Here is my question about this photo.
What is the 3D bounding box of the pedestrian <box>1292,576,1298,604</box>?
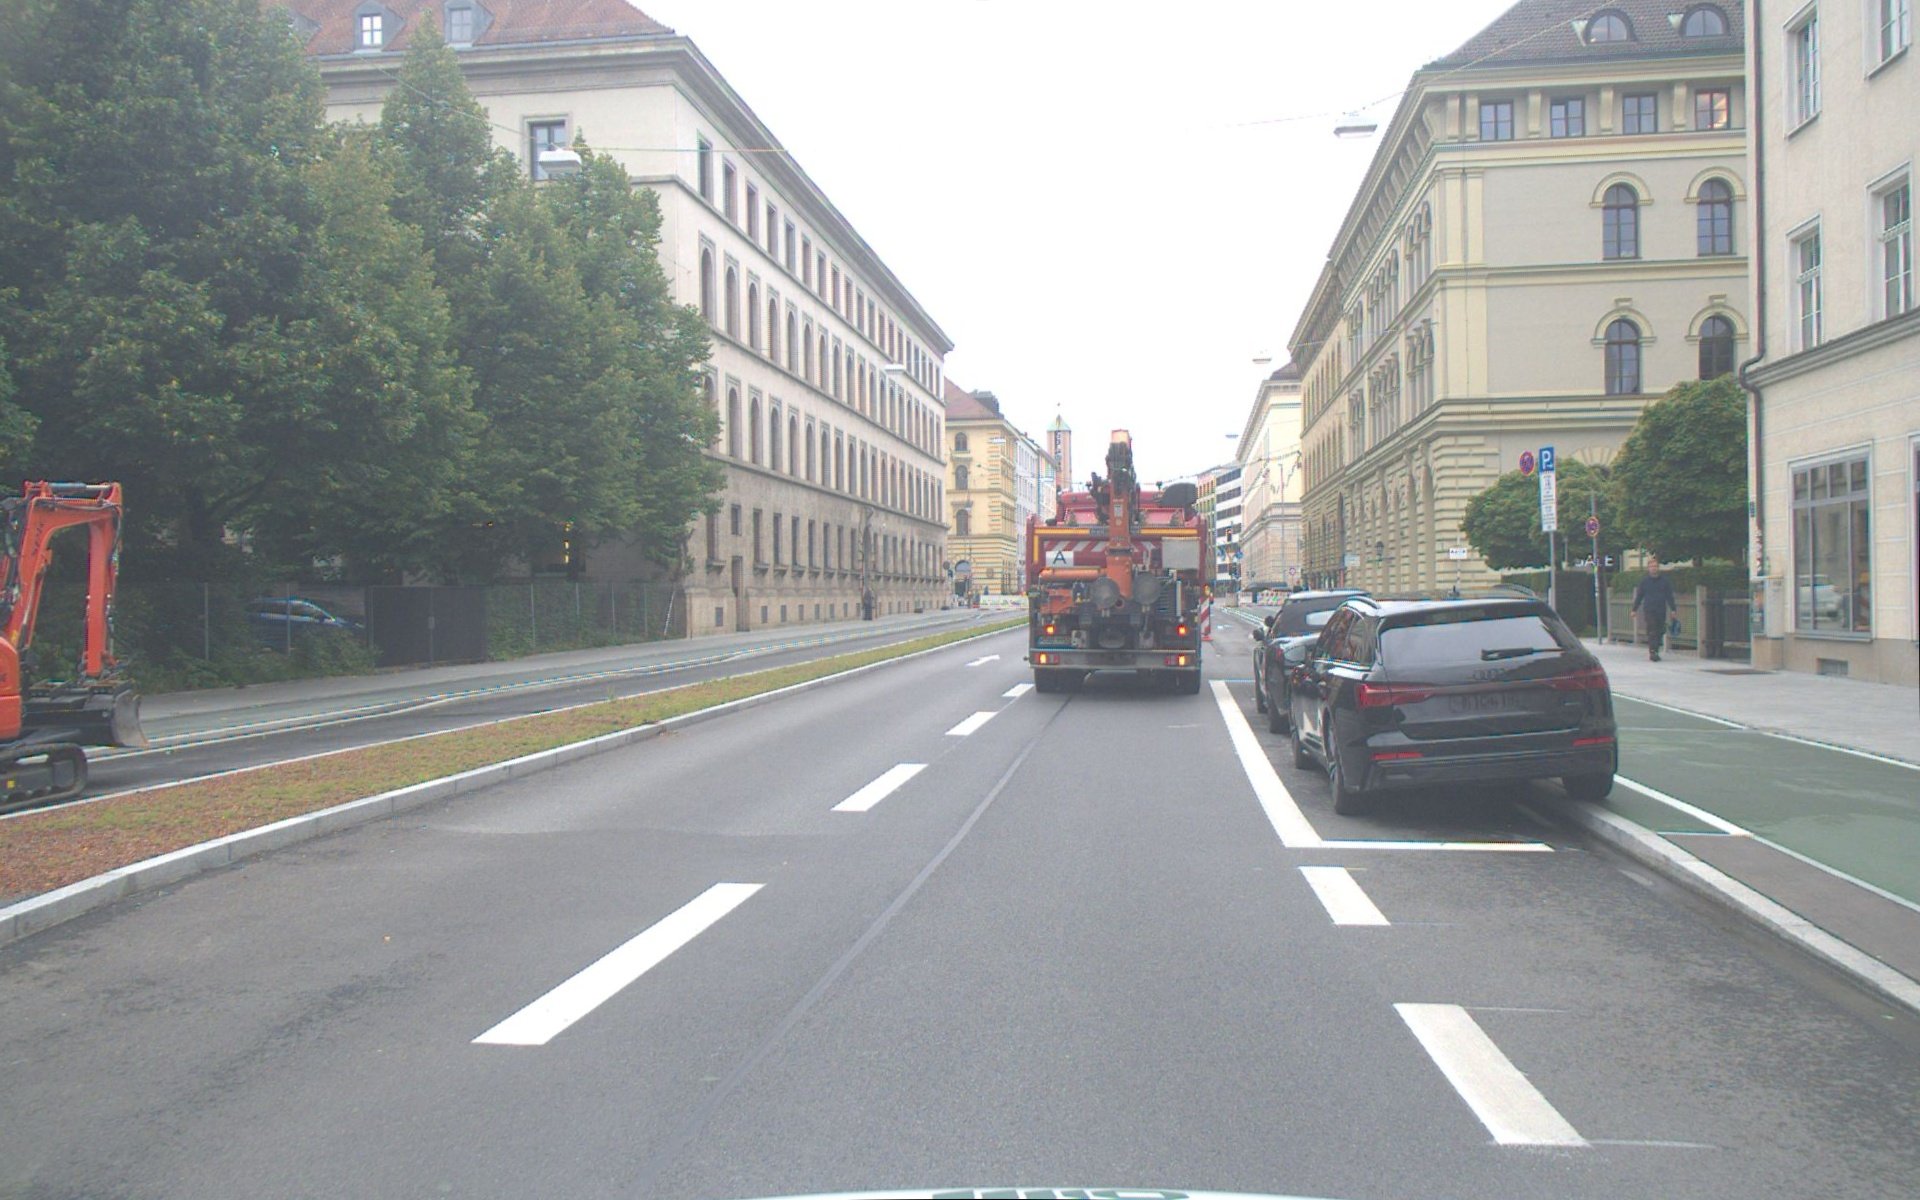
[{"bbox_3d":[20.583,-0.608,101.633,0.330,1.701,0.440,-1,0,8],"label":"pedestrian"}]

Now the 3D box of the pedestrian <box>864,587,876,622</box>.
[{"bbox_3d":[-4.929,0.240,90.270,0.576,1.863,0.499,0,0,6],"label":"pedestrian"}]

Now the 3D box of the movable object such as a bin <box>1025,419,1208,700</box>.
[{"bbox_3d":[2.360,-0.551,24.703,2.372,3.674,5.856,0,0,6],"label":"movable object such as a bin"}]

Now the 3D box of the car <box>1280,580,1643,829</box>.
[{"bbox_3d":[3.536,0.626,12.533,1.763,1.506,4.690,-1,0,6],"label":"car"}]

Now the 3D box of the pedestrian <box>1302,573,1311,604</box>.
[{"bbox_3d":[21.280,-0.707,101.530,0.436,1.868,0.556,-1,0,8],"label":"pedestrian"}]

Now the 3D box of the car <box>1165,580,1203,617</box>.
[{"bbox_3d":[9.594,-0.098,71.036,1.576,1.521,3.427,-1,0,7],"label":"car"}]

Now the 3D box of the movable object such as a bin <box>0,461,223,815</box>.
[{"bbox_3d":[-8.274,0.294,14.008,1.953,2.687,4.665,-1,0,-1],"label":"movable object such as a bin"}]

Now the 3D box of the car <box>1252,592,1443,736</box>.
[{"bbox_3d":[4.265,0.632,18.764,1.644,1.410,4.430,0,1,7],"label":"car"}]

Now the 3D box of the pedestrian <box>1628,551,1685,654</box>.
[{"bbox_3d":[12.873,0.045,30.572,0.773,1.868,0.778,-1,0,8],"label":"pedestrian"}]

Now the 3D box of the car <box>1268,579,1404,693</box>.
[{"bbox_3d":[5.411,0.480,24.149,1.576,1.521,3.427,-1,0,7],"label":"car"}]
